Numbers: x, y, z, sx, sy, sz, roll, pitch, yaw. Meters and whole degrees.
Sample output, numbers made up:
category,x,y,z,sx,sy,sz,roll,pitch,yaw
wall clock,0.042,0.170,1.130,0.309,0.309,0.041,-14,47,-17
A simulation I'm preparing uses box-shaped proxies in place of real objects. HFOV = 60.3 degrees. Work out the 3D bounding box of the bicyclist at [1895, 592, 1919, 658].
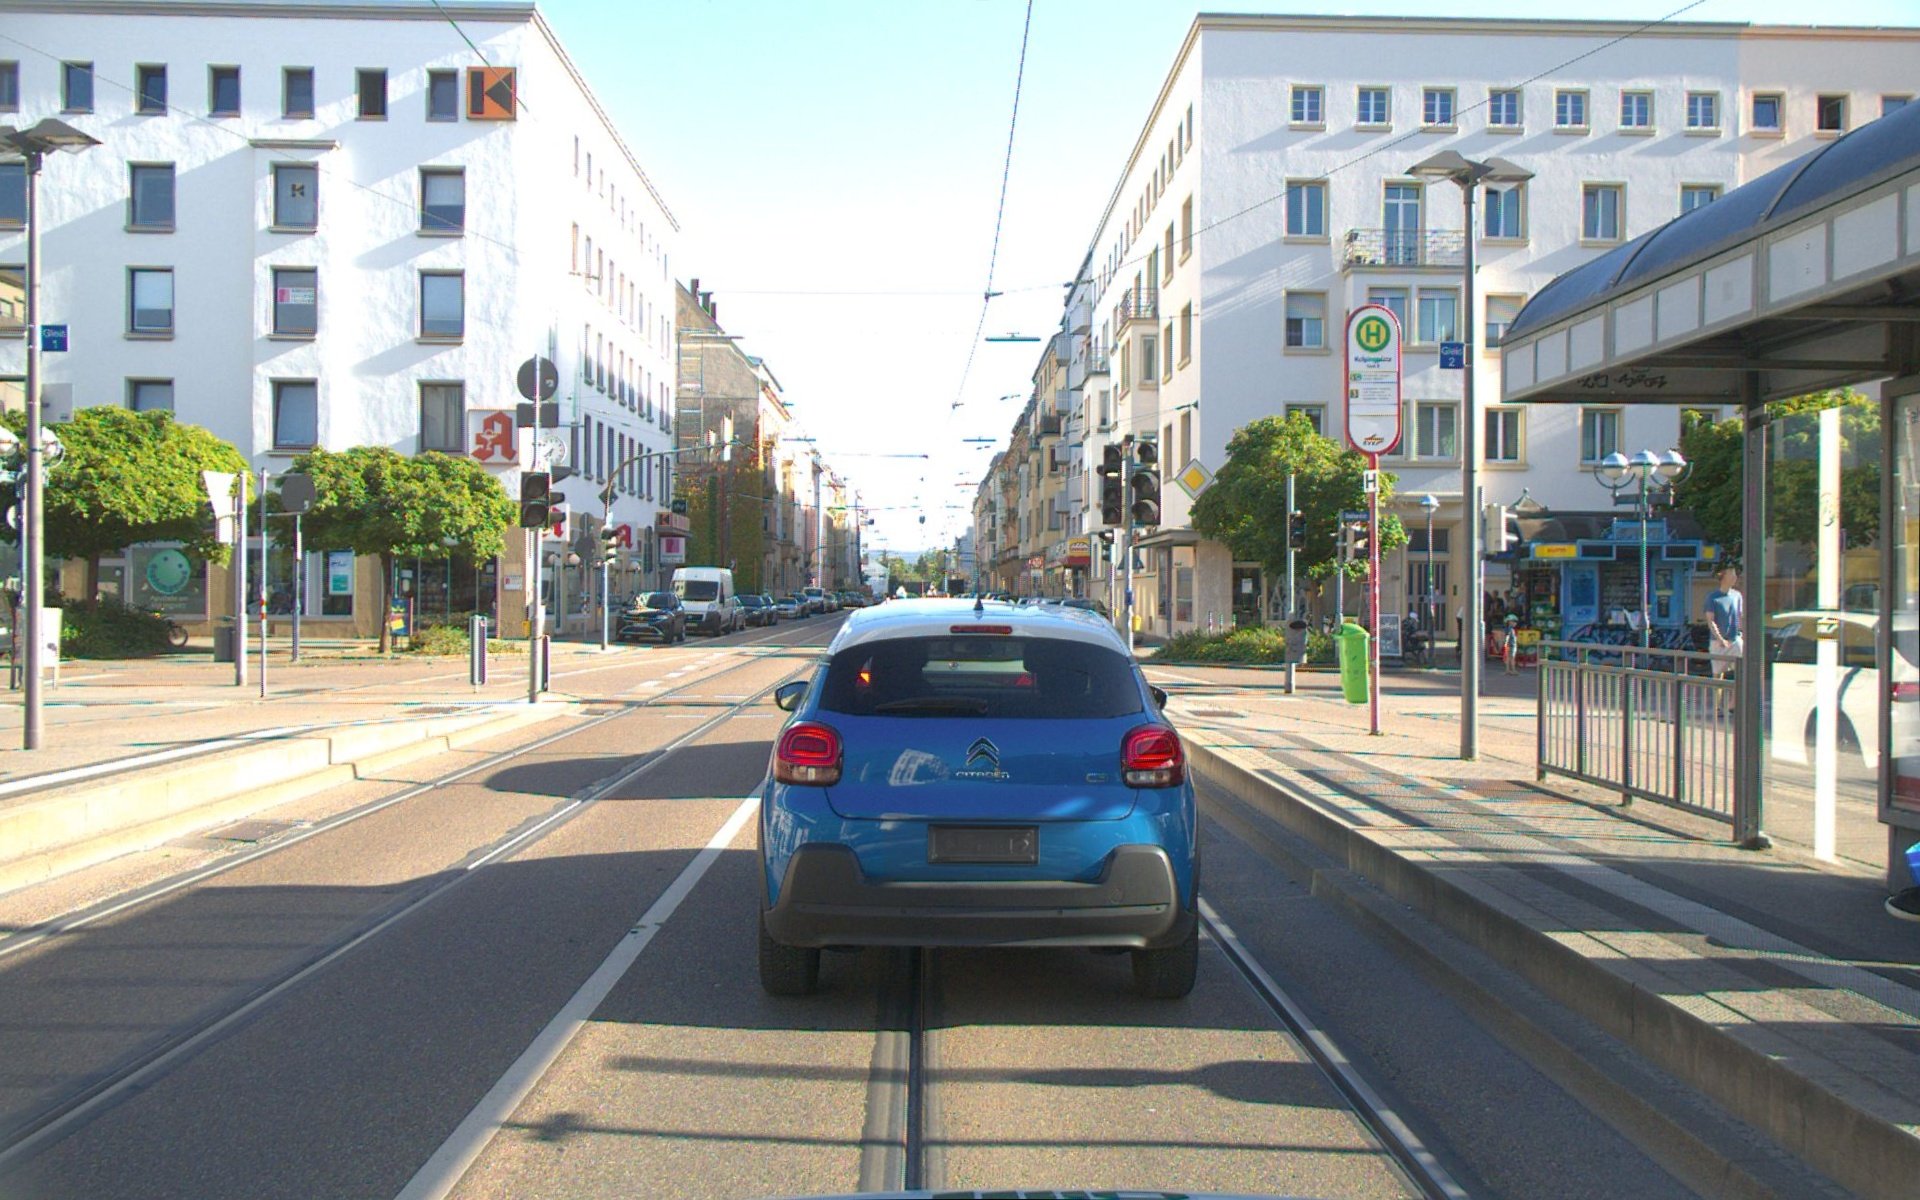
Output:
category,x,y,z,sx,sy,sz,roll,pitch,yaw
bicyclist,18.606,0.486,31.676,0.911,1.247,0.955,2,0,11

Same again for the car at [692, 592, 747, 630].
category,x,y,z,sx,sy,sz,roll,pitch,yaw
car,-10.052,0.472,69.400,1.850,1.522,3.560,1,0,-2

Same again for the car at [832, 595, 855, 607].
category,x,y,z,sx,sy,sz,roll,pitch,yaw
car,-10.834,0.087,154.056,1.953,1.176,4.000,0,0,0

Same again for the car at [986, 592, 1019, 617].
category,x,y,z,sx,sy,sz,roll,pitch,yaw
car,2.593,0.253,102.050,1.953,1.489,4.504,0,0,0

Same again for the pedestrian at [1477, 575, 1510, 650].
category,x,y,z,sx,sy,sz,roll,pitch,yaw
pedestrian,13.432,0.320,41.672,0.639,1.871,0.659,0,0,2

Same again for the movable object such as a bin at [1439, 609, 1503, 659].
category,x,y,z,sx,sy,sz,roll,pitch,yaw
movable object such as a bin,12.480,0.824,40.427,1.174,1.173,1.217,0,0,0

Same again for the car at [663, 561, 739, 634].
category,x,y,z,sx,sy,sz,roll,pitch,yaw
car,-9.739,-0.082,62.619,2.043,2.586,6.203,1,0,-2

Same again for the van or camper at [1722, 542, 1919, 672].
category,x,y,z,sx,sy,sz,roll,pitch,yaw
van or camper,20.979,0.130,36.764,6.976,2.795,2.371,0,1,0

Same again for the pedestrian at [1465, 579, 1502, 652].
category,x,y,z,sx,sy,sz,roll,pitch,yaw
pedestrian,13.486,0.386,42.632,0.768,1.871,0.678,0,0,2

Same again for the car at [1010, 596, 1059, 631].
category,x,y,z,sx,sy,sz,roll,pitch,yaw
car,3.236,0.585,72.718,1.953,1.489,4.000,0,0,0

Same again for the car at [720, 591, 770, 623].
category,x,y,z,sx,sy,sz,roll,pitch,yaw
car,-10.103,0.337,77.980,1.953,1.422,4.155,1,0,-2

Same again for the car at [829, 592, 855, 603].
category,x,y,z,sx,sy,sz,roll,pitch,yaw
car,-13.193,-0.258,184.625,1.951,1.176,4.518,0,0,8

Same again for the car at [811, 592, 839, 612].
category,x,y,z,sx,sy,sz,roll,pitch,yaw
car,-11.187,0.206,137.057,1.914,1.579,3.939,1,0,1

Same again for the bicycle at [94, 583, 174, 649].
category,x,y,z,sx,sy,sz,roll,pitch,yaw
bicycle,-21.337,0.400,42.786,0.605,1.635,2.621,0,0,3

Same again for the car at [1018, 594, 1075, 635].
category,x,y,z,sx,sy,sz,roll,pitch,yaw
car,3.249,0.532,63.026,1.953,1.527,4.000,0,0,0

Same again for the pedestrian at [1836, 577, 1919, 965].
category,x,y,z,sx,sy,sz,roll,pitch,yaw
pedestrian,3.590,0.574,5.346,0.978,1.246,0.923,3,-1,-1

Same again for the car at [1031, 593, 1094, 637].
category,x,y,z,sx,sy,sz,roll,pitch,yaw
car,3.522,0.500,57.444,1.953,1.489,4.000,0,0,0

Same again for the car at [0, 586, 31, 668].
category,x,y,z,sx,sy,sz,roll,pitch,yaw
car,-22.389,0.568,35.425,3.906,1.736,1.825,0,0,-2

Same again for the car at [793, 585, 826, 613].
category,x,y,z,sx,sy,sz,roll,pitch,yaw
car,-11.492,-0.065,126.681,1.965,2.049,4.690,1,0,1

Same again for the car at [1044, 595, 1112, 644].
category,x,y,z,sx,sy,sz,roll,pitch,yaw
car,3.699,0.583,52.566,1.870,1.489,4.000,0,0,0

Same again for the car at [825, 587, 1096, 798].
category,x,y,z,sx,sy,sz,roll,pitch,yaw
car,-0.034,0.666,14.420,1.944,1.490,4.814,1,0,-1

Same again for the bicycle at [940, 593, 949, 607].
category,x,y,z,sx,sy,sz,roll,pitch,yaw
bicycle,-1.604,-0.032,174.330,0.901,1.413,3.131,0,0,-1

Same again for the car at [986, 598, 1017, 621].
category,x,y,z,sx,sy,sz,roll,pitch,yaw
car,2.661,0.593,106.409,1.952,1.489,4.000,0,0,1

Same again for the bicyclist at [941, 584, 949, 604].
category,x,y,z,sx,sy,sz,roll,pitch,yaw
bicyclist,-1.602,-0.611,174.003,0.793,2.049,0.922,1,-1,-3

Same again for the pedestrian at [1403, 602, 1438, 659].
category,x,y,z,sx,sy,sz,roll,pitch,yaw
pedestrian,10.906,0.721,39.173,0.725,1.339,0.628,0,0,22

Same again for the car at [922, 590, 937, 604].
category,x,y,z,sx,sy,sz,roll,pitch,yaw
car,-4.033,-0.418,218.995,1.953,1.803,3.999,0,0,-1

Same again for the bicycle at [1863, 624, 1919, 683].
category,x,y,z,sx,sy,sz,roll,pitch,yaw
bicycle,18.663,1.042,31.663,2.266,1.080,0.721,2,0,10

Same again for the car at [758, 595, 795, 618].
category,x,y,z,sx,sy,sz,roll,pitch,yaw
car,-11.416,0.425,103.012,1.953,1.348,3.921,1,0,-2

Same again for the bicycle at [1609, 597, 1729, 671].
category,x,y,z,sx,sy,sz,roll,pitch,yaw
bicycle,15.888,0.760,37.087,2.336,1.558,0.726,2,0,-2

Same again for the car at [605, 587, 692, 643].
category,x,y,z,sx,sy,sz,roll,pitch,yaw
car,-9.792,0.463,52.256,1.953,1.596,4.401,3,0,-2

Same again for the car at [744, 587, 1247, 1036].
category,x,y,z,sx,sy,sz,roll,pitch,yaw
car,0.093,0.720,7.568,1.693,1.508,3.826,1,0,-1

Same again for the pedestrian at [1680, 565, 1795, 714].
category,x,y,z,sx,sy,sz,roll,pitch,yaw
pedestrian,10.233,0.518,21.808,0.961,1.910,1.128,0,-1,-3

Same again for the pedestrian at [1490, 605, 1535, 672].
category,x,y,z,sx,sy,sz,roll,pitch,yaw
pedestrian,12.288,0.851,36.778,0.715,1.434,0.755,0,3,-1

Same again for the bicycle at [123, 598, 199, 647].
category,x,y,z,sx,sy,sz,roll,pitch,yaw
bicycle,-20.628,0.559,42.773,0.605,1.211,2.621,0,0,2

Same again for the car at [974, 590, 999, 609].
category,x,y,z,sx,sy,sz,roll,pitch,yaw
car,2.131,-0.016,133.268,1.953,1.489,4.000,0,0,0

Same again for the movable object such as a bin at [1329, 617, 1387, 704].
category,x,y,z,sx,sy,sz,roll,pitch,yaw
movable object such as a bin,3.735,0.562,15.534,0.439,0.800,0.489,0,0,2
